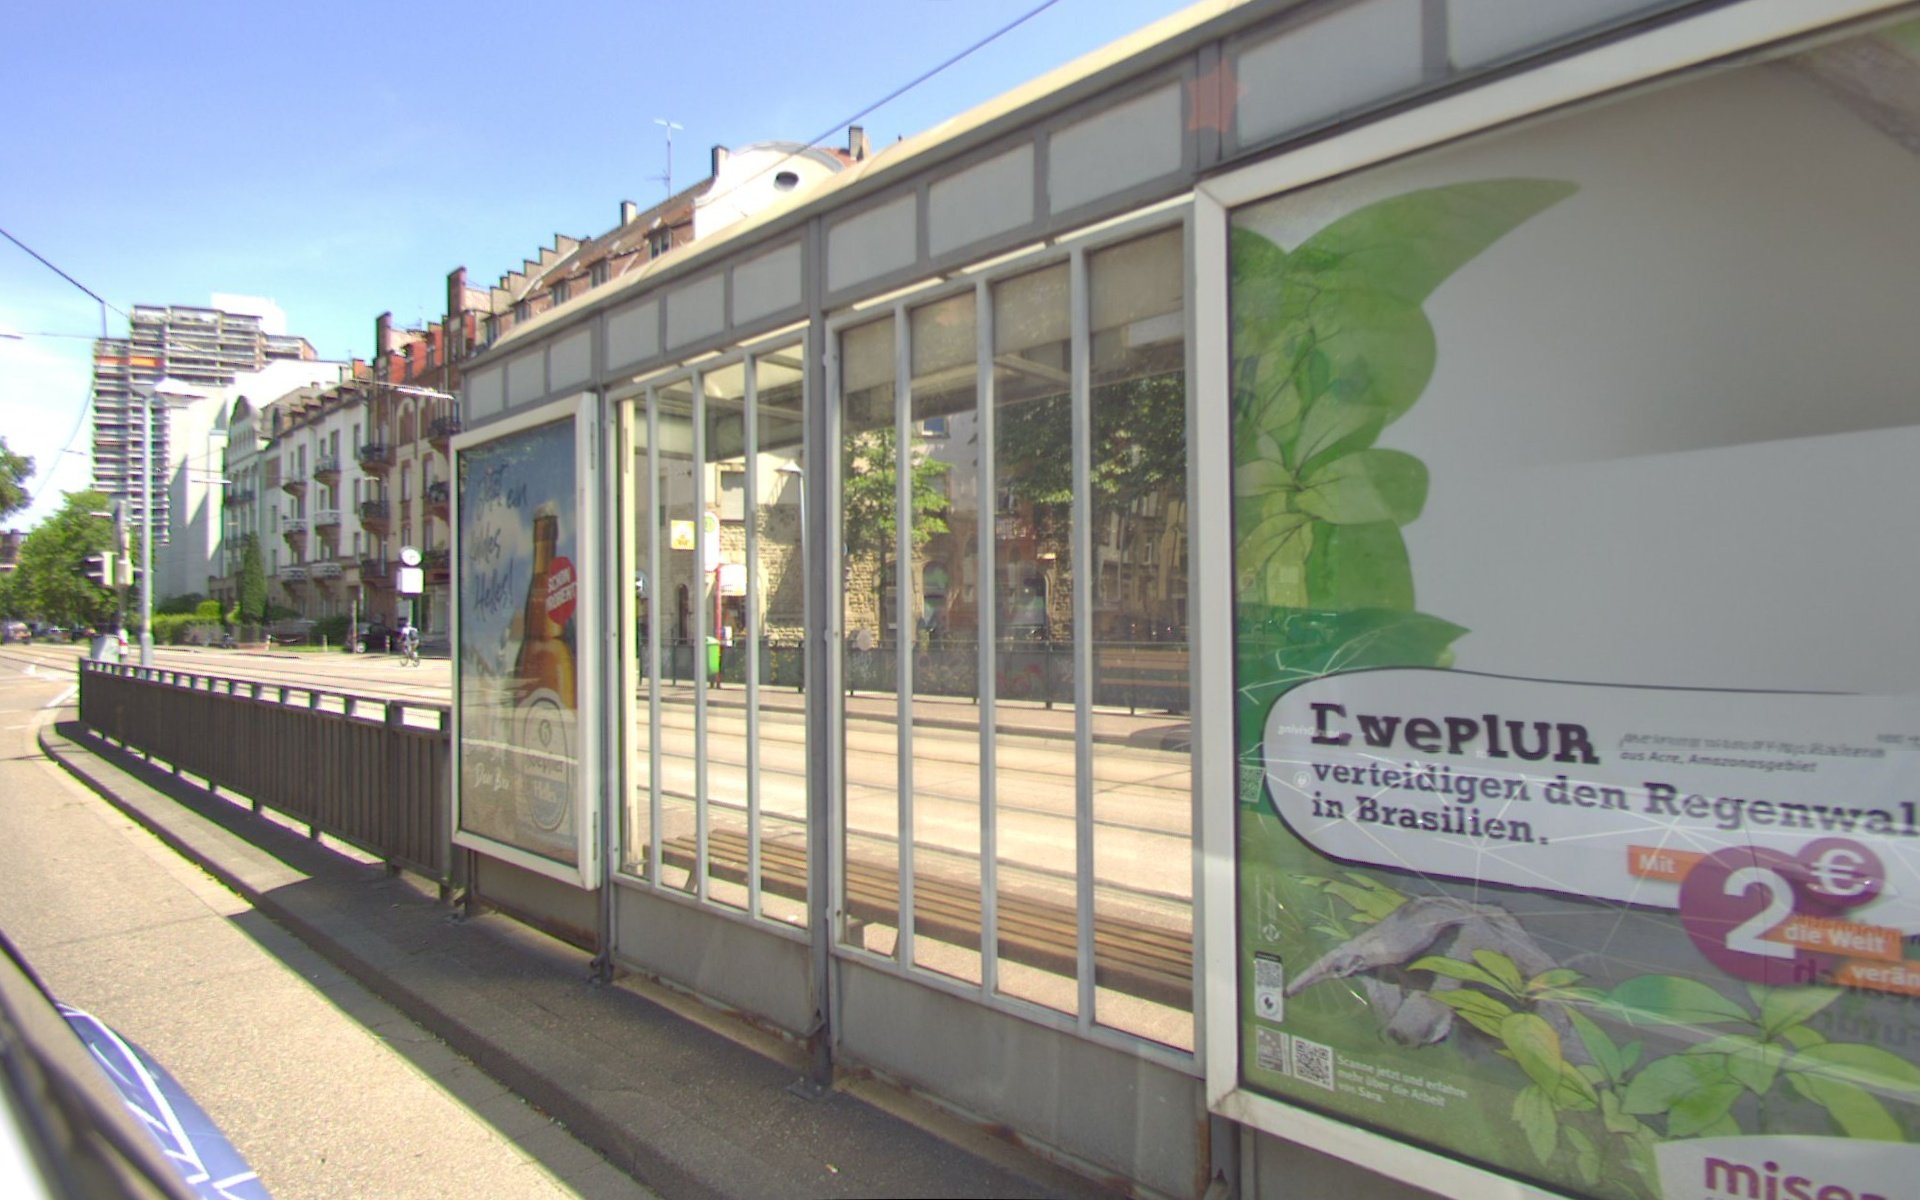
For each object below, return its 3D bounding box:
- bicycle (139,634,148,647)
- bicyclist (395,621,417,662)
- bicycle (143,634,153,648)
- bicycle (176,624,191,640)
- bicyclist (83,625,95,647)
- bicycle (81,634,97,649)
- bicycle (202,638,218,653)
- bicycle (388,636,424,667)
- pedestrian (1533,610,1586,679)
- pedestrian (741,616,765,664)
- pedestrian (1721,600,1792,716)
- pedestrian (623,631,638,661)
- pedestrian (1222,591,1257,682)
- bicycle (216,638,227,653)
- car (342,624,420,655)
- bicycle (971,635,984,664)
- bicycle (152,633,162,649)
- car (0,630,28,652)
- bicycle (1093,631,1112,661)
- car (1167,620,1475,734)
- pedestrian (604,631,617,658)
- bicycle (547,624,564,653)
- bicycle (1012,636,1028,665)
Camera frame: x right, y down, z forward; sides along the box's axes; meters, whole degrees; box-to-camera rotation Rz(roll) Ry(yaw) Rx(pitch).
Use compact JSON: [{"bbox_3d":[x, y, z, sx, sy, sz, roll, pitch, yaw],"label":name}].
[{"bbox_3d":[-66.570,3.310,82.500,1.728,1.076,0.335,-1,-1,42],"label":"bicycle"},{"bbox_3d":[-21.857,1.627,39.961,0.585,1.586,0.601,-1,-1,42],"label":"bicyclist"},{"bbox_3d":[-65.145,3.292,81.176,1.728,1.076,0.335,-1,-1,42],"label":"bicycle"},{"bbox_3d":[-55.795,2.312,72.676,2.046,1.105,0.487,-2,-1,42],"label":"bicycle"},{"bbox_3d":[-67.246,2.779,78.160,0.579,1.676,0.603,-2,-3,42],"label":"bicyclist"},{"bbox_3d":[-67.308,3.193,78.202,2.186,1.082,0.637,-2,-2,42],"label":"bicycle"},{"bbox_3d":[-49.914,3.032,67.344,1.954,0.955,0.457,-2,-1,42],"label":"bicycle"},{"bbox_3d":[-21.916,2.018,40.003,1.977,1.166,0.621,-2,-1,42],"label":"bicycle"},{"bbox_3d":[11.236,0.826,18.982,0.637,1.265,0.549,-1,-1,2],"label":"pedestrian"},{"bbox_3d":[-7.695,1.475,37.584,0.727,1.744,0.538,-1,-1,40],"label":"pedestrian"},{"bbox_3d":[11.568,0.819,14.716,0.772,1.617,0.673,-1,-1,39],"label":"pedestrian"},{"bbox_3d":[-13.314,1.854,40.875,0.405,1.157,0.401,-1,-1,39],"label":"pedestrian"},{"bbox_3d":[5.904,0.769,21.395,0.504,1.893,0.494,0,-1,-43],"label":"pedestrian"},{"bbox_3d":[-46.940,2.897,64.289,1.614,0.924,0.250,-2,-1,42],"label":"bicycle"},{"bbox_3d":[-30.839,2.097,53.965,3.315,1.483,1.531,-1,-1,-44],"label":"car"},{"bbox_3d":[0.632,1.797,36.903,0.286,0.981,1.675,-1,-1,-6],"label":"bicycle"},{"bbox_3d":[-63.067,3.200,79.464,1.932,1.173,0.335,-1,-1,42],"label":"bicycle"},{"bbox_3d":[-87.711,3.784,93.299,4.815,1.952,1.826,-1,-3,37],"label":"car"},{"bbox_3d":[5.072,1.630,36.115,0.286,0.981,1.675,-1,-1,-6],"label":"bicycle"},{"bbox_3d":[4.896,0.964,13.988,3.717,1.349,1.525,-1,-1,41],"label":"car"},{"bbox_3d":[-14.303,1.825,41.403,0.405,1.097,0.351,-1,-1,39],"label":"pedestrian"},{"bbox_3d":[-17.945,1.691,44.874,0.447,1.234,2.086,0,-1,-28],"label":"bicycle"},{"bbox_3d":[2.102,1.776,35.800,0.286,0.981,1.675,-1,-1,-6],"label":"bicycle"}]
